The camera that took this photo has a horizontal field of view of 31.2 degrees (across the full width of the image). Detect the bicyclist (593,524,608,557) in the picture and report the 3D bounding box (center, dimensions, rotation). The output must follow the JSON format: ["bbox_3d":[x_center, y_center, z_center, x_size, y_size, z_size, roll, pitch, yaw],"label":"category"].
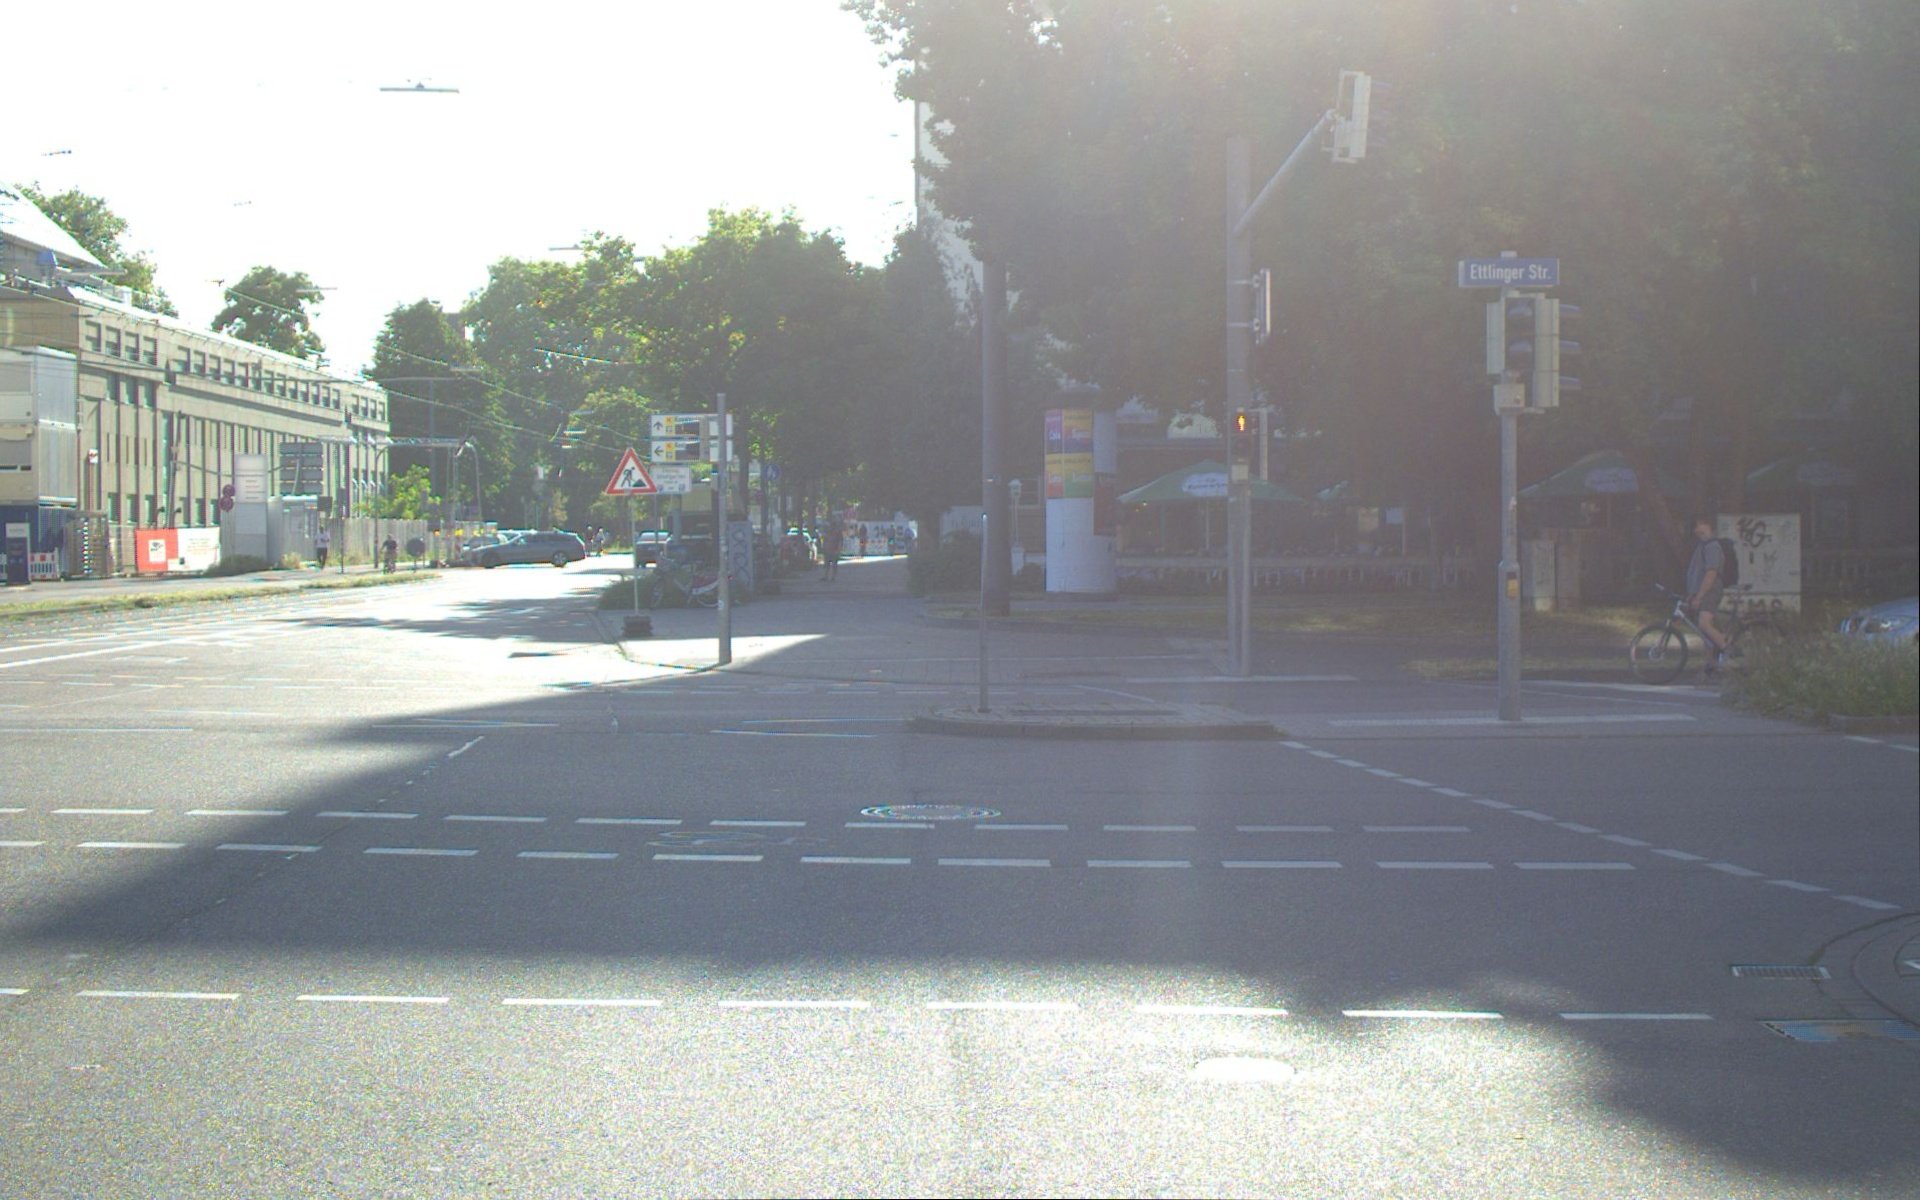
[{"bbox_3d":[-20.830,-3.444,199.414,0.750,1.913,1.215,1,0,-2],"label":"bicyclist"}]

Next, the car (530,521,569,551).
[{"bbox_3d":[-23.240,-3.626,194.692,1.993,1.638,4.001,-1,1,-4],"label":"car"}]

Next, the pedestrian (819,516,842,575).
[{"bbox_3d":[-3.674,-1.546,97.607,0.576,1.683,0.585,-1,1,-8],"label":"pedestrian"}]

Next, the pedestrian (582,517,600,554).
[{"bbox_3d":[-20.880,-3.659,194.539,0.751,2.056,1.050,1,0,5],"label":"pedestrian"}]

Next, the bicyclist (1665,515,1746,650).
[{"bbox_3d":[7.887,-0.184,36.378,0.747,1.401,0.702,1,0,6],"label":"bicyclist"}]

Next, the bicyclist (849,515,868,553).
[{"bbox_3d":[-5.403,-3.514,182.554,0.890,2.007,0.749,1,0,-12],"label":"bicyclist"}]

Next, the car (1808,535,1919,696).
[{"bbox_3d":[10.833,0.165,33.571,4.576,1.511,2.000,1,0,0],"label":"car"}]

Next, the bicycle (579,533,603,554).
[{"bbox_3d":[-20.870,-3.198,194.650,0.751,1.201,3.107,1,1,5],"label":"bicycle"}]

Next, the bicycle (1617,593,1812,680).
[{"bbox_3d":[7.969,0.379,36.379,1.944,0.886,0.718,1,0,6],"label":"bicycle"}]

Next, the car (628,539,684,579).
[{"bbox_3d":[-12.618,-1.695,142.971,1.993,1.634,4.000,1,1,-1],"label":"car"}]

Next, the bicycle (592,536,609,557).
[{"bbox_3d":[-20.838,-3.083,199.404,0.750,1.201,3.108,1,1,-2],"label":"bicycle"}]

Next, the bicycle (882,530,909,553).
[{"bbox_3d":[-3.443,-3.099,183.333,0.890,1.215,2.794,1,1,-12],"label":"bicycle"}]

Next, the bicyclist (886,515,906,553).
[{"bbox_3d":[-3.424,-3.493,183.245,0.890,2.007,0.749,1,0,-12],"label":"bicyclist"}]

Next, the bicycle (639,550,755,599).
[{"bbox_3d":[-5.139,-0.502,67.218,2.244,0.937,0.654,-1,1,-5],"label":"bicycle"}]

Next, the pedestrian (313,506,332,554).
[{"bbox_3d":[-25.532,-2.798,137.695,0.588,1.883,0.478,1,0,7],"label":"pedestrian"}]

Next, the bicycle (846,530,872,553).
[{"bbox_3d":[-5.393,-3.117,182.517,0.890,1.215,2.794,1,1,-12],"label":"bicycle"}]
